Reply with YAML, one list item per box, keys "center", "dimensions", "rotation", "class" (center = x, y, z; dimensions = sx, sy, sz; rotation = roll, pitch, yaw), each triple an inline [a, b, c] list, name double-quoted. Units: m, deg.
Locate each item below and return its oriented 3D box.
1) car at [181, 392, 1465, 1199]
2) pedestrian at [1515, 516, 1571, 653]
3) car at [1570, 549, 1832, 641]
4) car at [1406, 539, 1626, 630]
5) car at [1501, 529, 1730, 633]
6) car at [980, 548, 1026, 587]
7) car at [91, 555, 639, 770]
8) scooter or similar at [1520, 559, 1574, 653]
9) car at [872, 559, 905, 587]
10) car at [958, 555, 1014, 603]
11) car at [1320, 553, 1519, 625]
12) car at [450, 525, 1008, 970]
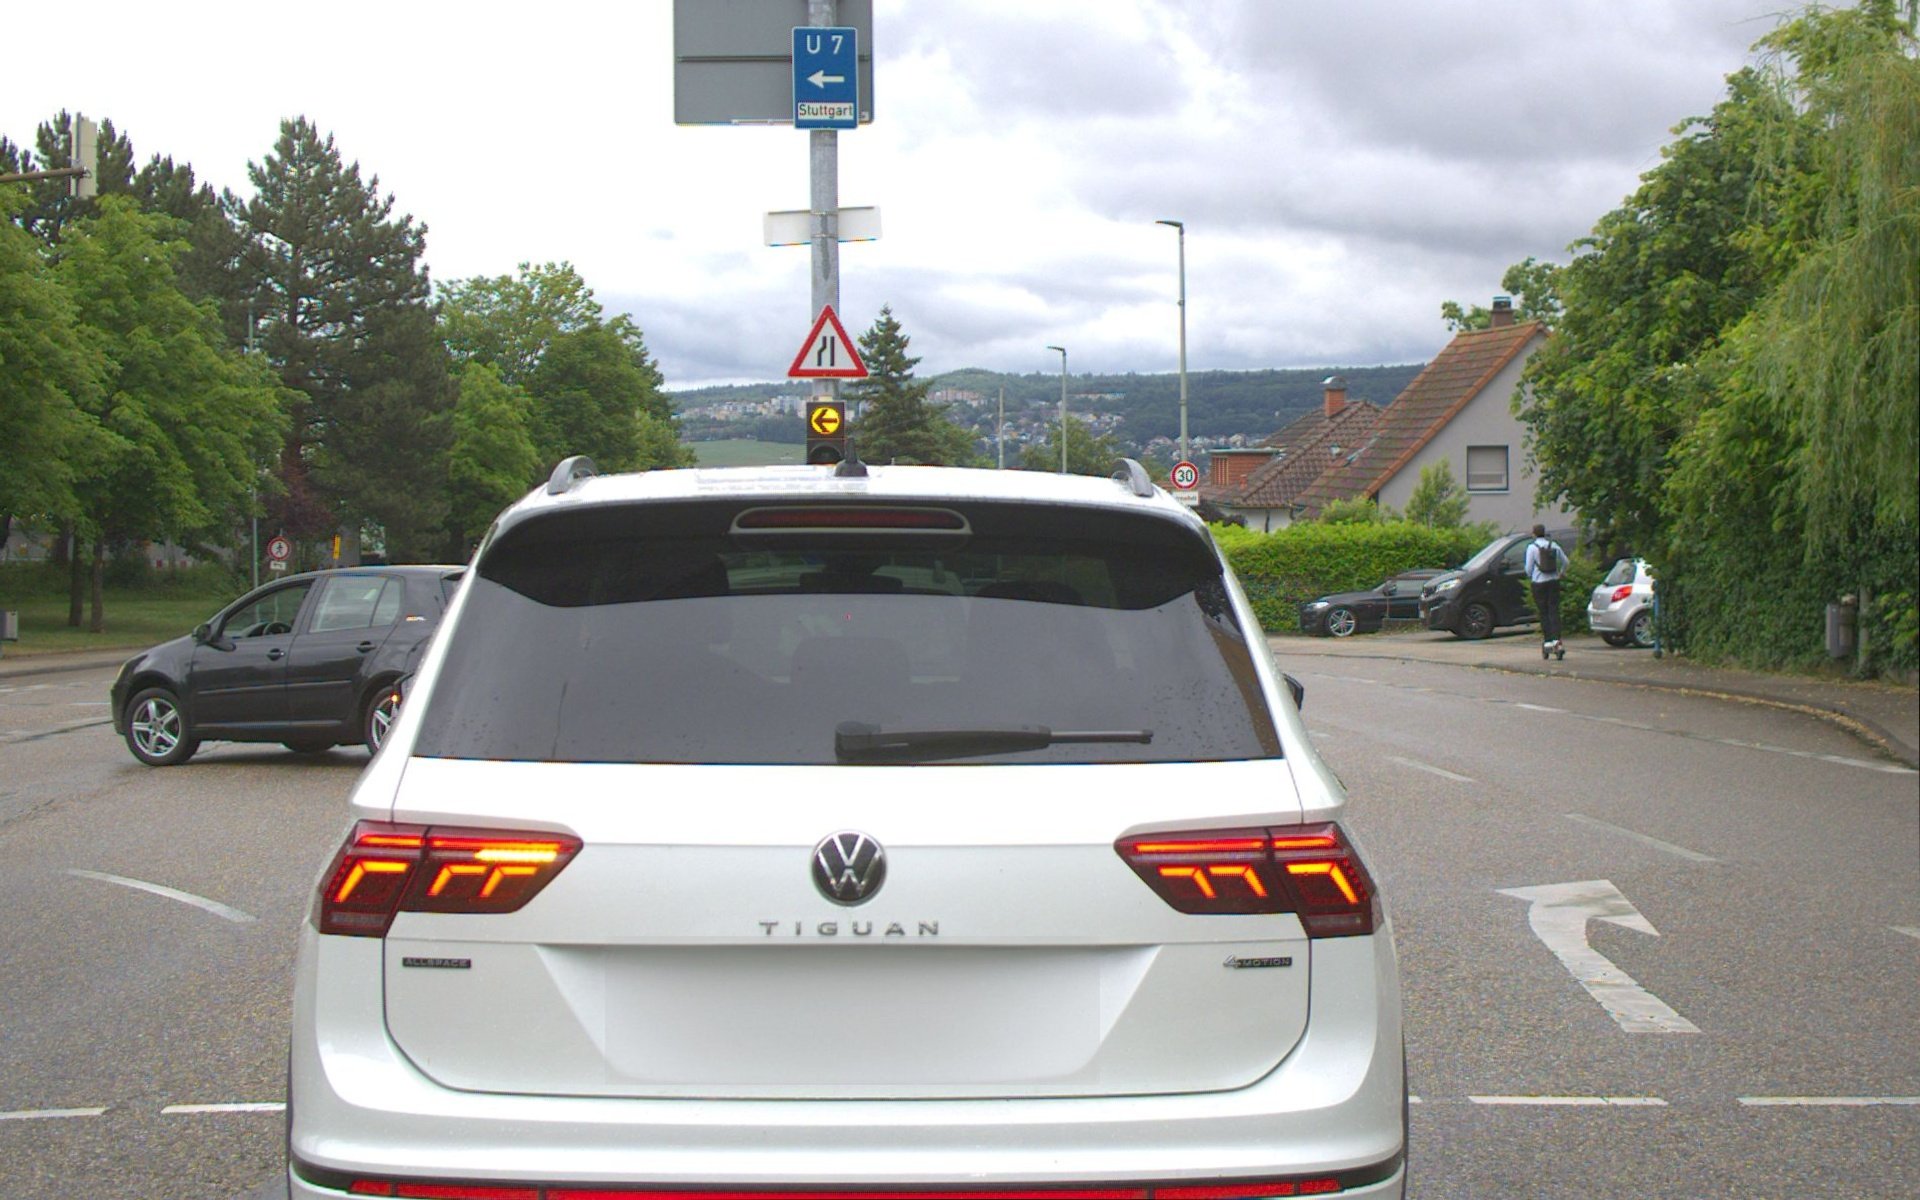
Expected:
- center: [-0.253, 0.541, 6.950]
  dimensions: [1.763, 1.690, 4.273]
  rotation: [2, 1, -2]
  class: "car"
- center: [8.592, -0.231, 50.684]
  dimensions: [0.655, 1.995, 0.718]
  rotation: [0, 1, -4]
  class: "pedestrian"
- center: [11.834, -0.079, 55.037]
  dimensions: [3.713, 1.390, 1.729]
  rotation: [-1, 0, -7]
  class: "car"
- center: [10.125, -0.285, 62.711]
  dimensions: [3.627, 1.621, 1.791]
  rotation: [0, 0, -4]
  class: "car"
- center: [11.478, -0.343, 60.338]
  dimensions: [3.627, 1.740, 1.708]
  rotation: [-1, 1, -4]
  class: "car"
- center: [1.790, -1.386, 144.086]
  dimensions: [1.850, 1.569, 4.000]
  rotation: [-1, 1, 0]
  class: "car"
- center: [-4.518, 0.427, 25.892]
  dimensions: [3.995, 1.474, 1.762]
  rotation: [0, 1, 36]
  class: "car"
- center: [8.646, 0.080, 50.652]
  dimensions: [0.461, 1.356, 1.385]
  rotation: [0, 1, -4]
  class: "scooter or similar"
- center: [-4.158, -1.572, 200.310]
  dimensions: [1.850, 1.569, 4.000]
  rotation: [-1, 1, 0]
  class: "car"
- center: [0.879, -0.751, 118.494]
  dimensions: [1.850, 1.569, 4.000]
  rotation: [-1, 1, 0]
  class: "car"
- center: [9.021, -0.209, 67.654]
  dimensions: [3.687, 1.365, 1.519]
  rotation: [0, -1, -2]
  class: "car"
- center: [-0.803, 0.498, 14.275]
  dimensions: [1.799, 1.584, 3.926]
  rotation: [-1, 1, 4]
  class: "car"
